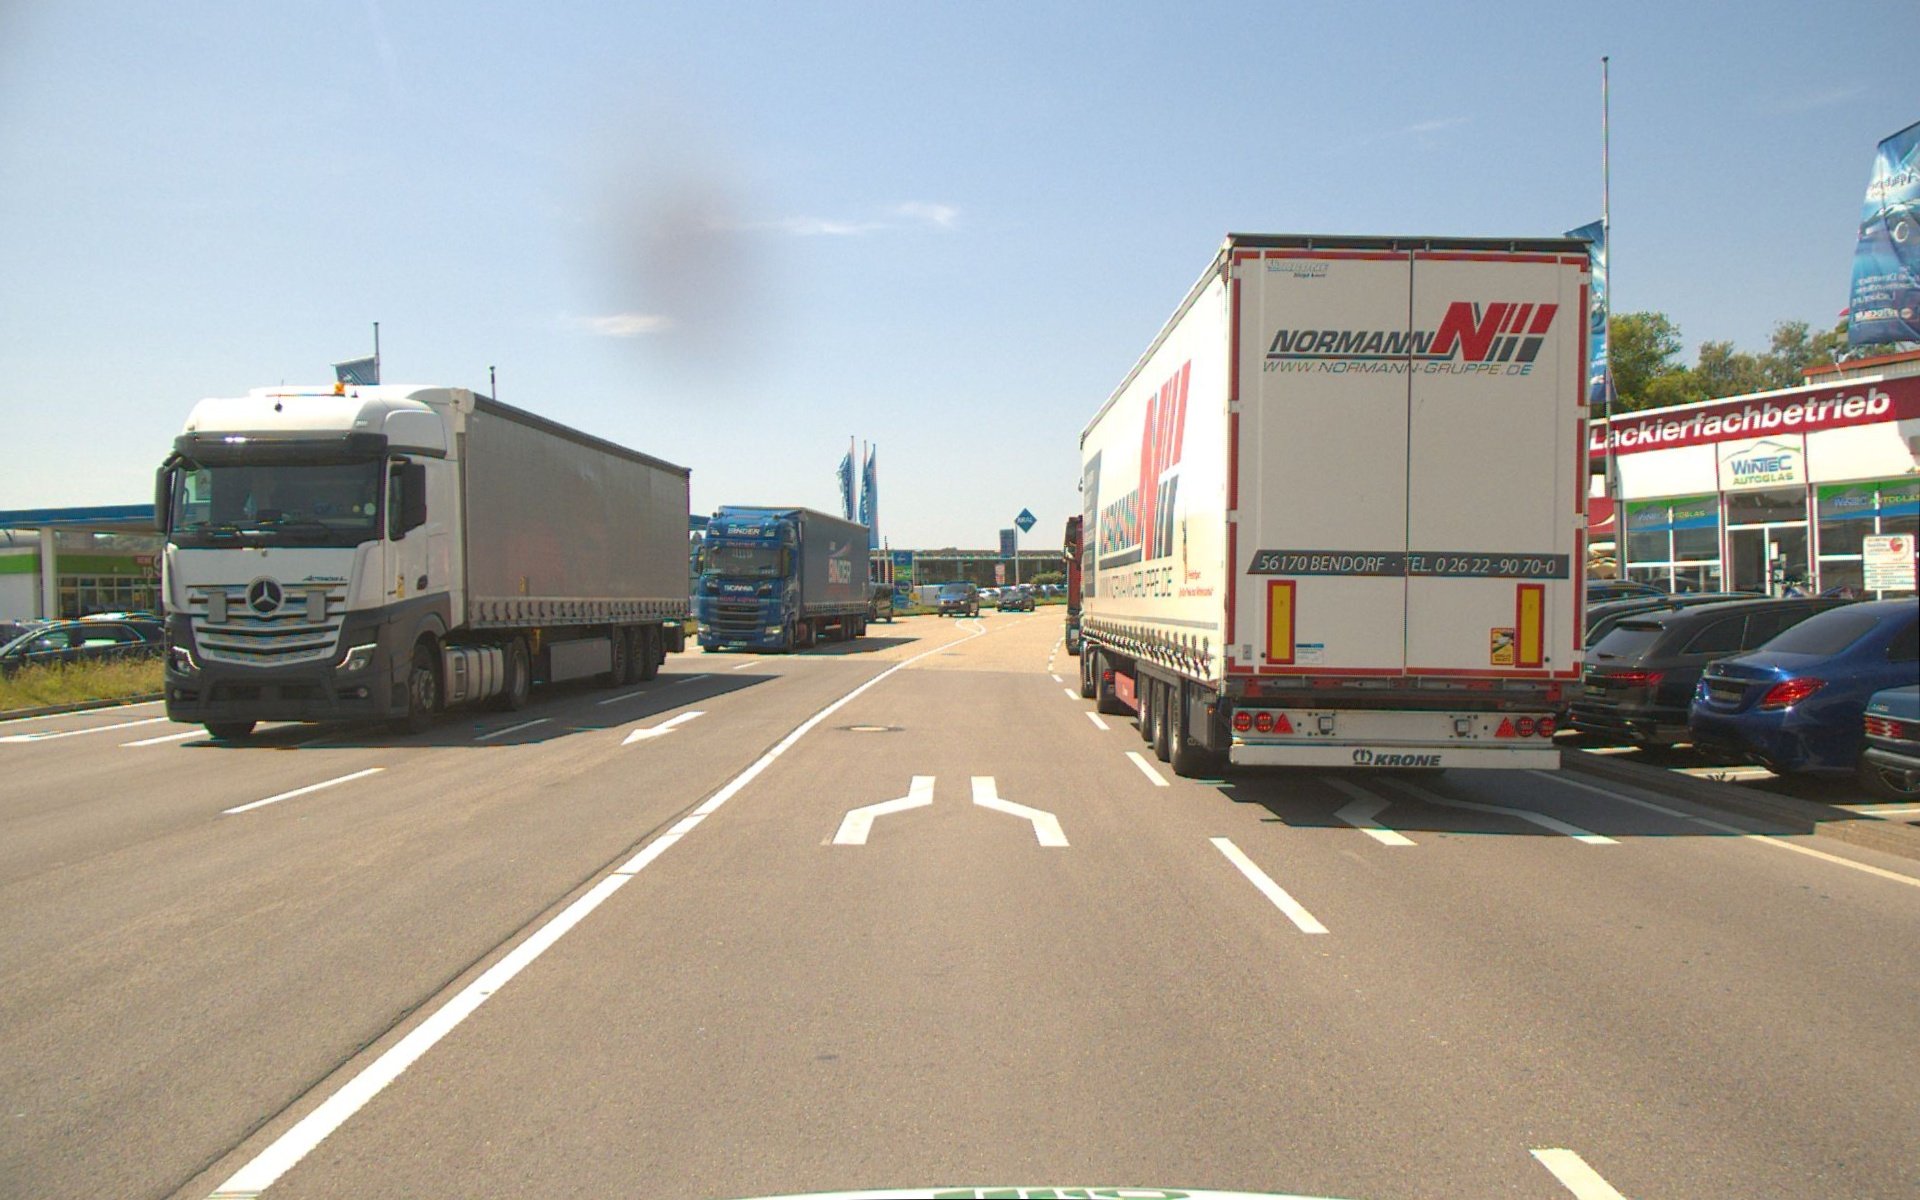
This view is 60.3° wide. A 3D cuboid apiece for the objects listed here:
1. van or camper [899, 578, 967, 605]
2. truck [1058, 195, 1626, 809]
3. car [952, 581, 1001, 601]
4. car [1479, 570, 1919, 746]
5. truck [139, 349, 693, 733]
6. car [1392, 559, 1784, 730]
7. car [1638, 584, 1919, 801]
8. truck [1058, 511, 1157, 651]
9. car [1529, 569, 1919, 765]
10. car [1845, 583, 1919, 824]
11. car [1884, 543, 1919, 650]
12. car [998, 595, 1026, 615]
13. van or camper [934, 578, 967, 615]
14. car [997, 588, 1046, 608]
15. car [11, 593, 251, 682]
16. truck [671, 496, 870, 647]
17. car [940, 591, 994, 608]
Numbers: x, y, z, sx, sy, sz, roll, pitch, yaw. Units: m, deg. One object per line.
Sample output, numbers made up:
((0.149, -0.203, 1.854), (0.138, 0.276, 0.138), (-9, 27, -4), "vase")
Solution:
((-1.951, -0.617, 121.444), (4.744, 1.938, 1.906), (0, -1, 8), "van or camper")
((3.116, -0.664, 20.057), (2.912, 4.165, 17.634), (0, 0, 0), "truck")
((1.448, -0.773, 143.909), (3.918, 1.780, 1.928), (0, -1, 34), "car")
((8.040, 0.602, 18.179), (3.935, 1.507, 1.976), (-5, 0, -7), "car")
((-6.942, -0.563, 25.295), (2.732, 3.957, 16.484), (0, 0, 1), "truck")
((7.778, 0.519, 20.691), (3.941, 1.703, 2.195), (-4, 0, -12), "car")
((8.055, 0.606, 13.384), (4.178, 1.437, 2.163), (-5, 0, -1), "car")
((4.539, -0.557, 53.172), (2.592, 3.873, 13.364), (-1, 0, 3), "truck")
((7.897, 0.589, 16.086), (3.935, 1.507, 1.976), (-5, 0, -7), "car")
((8.383, 0.610, 10.620), (4.421, 1.545, 1.783), (-2, 0, 0), "car")
((16.464, -0.072, 24.973), (1.919, 1.686, 4.142), (-1, 0, -20), "car")
((3.474, 0.305, 111.612), (1.810, 1.293, 4.177), (-1, 0, 1), "car")
((-0.538, -0.220, 98.628), (1.799, 2.175, 5.343), (0, 0, 1), "van or camper")
((5.501, -0.185, 147.802), (3.918, 1.780, 1.994), (-1, 0, 34), "car")
((-16.290, 0.700, 32.701), (4.116, 1.614, 1.768), (-1, 0, -25), "car")
((-5.424, -0.696, 51.849), (2.784, 3.957, 17.015), (0, 0, 5), "truck")
((0.588, -0.061, 140.941), (4.160, 1.383, 1.995), (-1, 0, 33), "car")
